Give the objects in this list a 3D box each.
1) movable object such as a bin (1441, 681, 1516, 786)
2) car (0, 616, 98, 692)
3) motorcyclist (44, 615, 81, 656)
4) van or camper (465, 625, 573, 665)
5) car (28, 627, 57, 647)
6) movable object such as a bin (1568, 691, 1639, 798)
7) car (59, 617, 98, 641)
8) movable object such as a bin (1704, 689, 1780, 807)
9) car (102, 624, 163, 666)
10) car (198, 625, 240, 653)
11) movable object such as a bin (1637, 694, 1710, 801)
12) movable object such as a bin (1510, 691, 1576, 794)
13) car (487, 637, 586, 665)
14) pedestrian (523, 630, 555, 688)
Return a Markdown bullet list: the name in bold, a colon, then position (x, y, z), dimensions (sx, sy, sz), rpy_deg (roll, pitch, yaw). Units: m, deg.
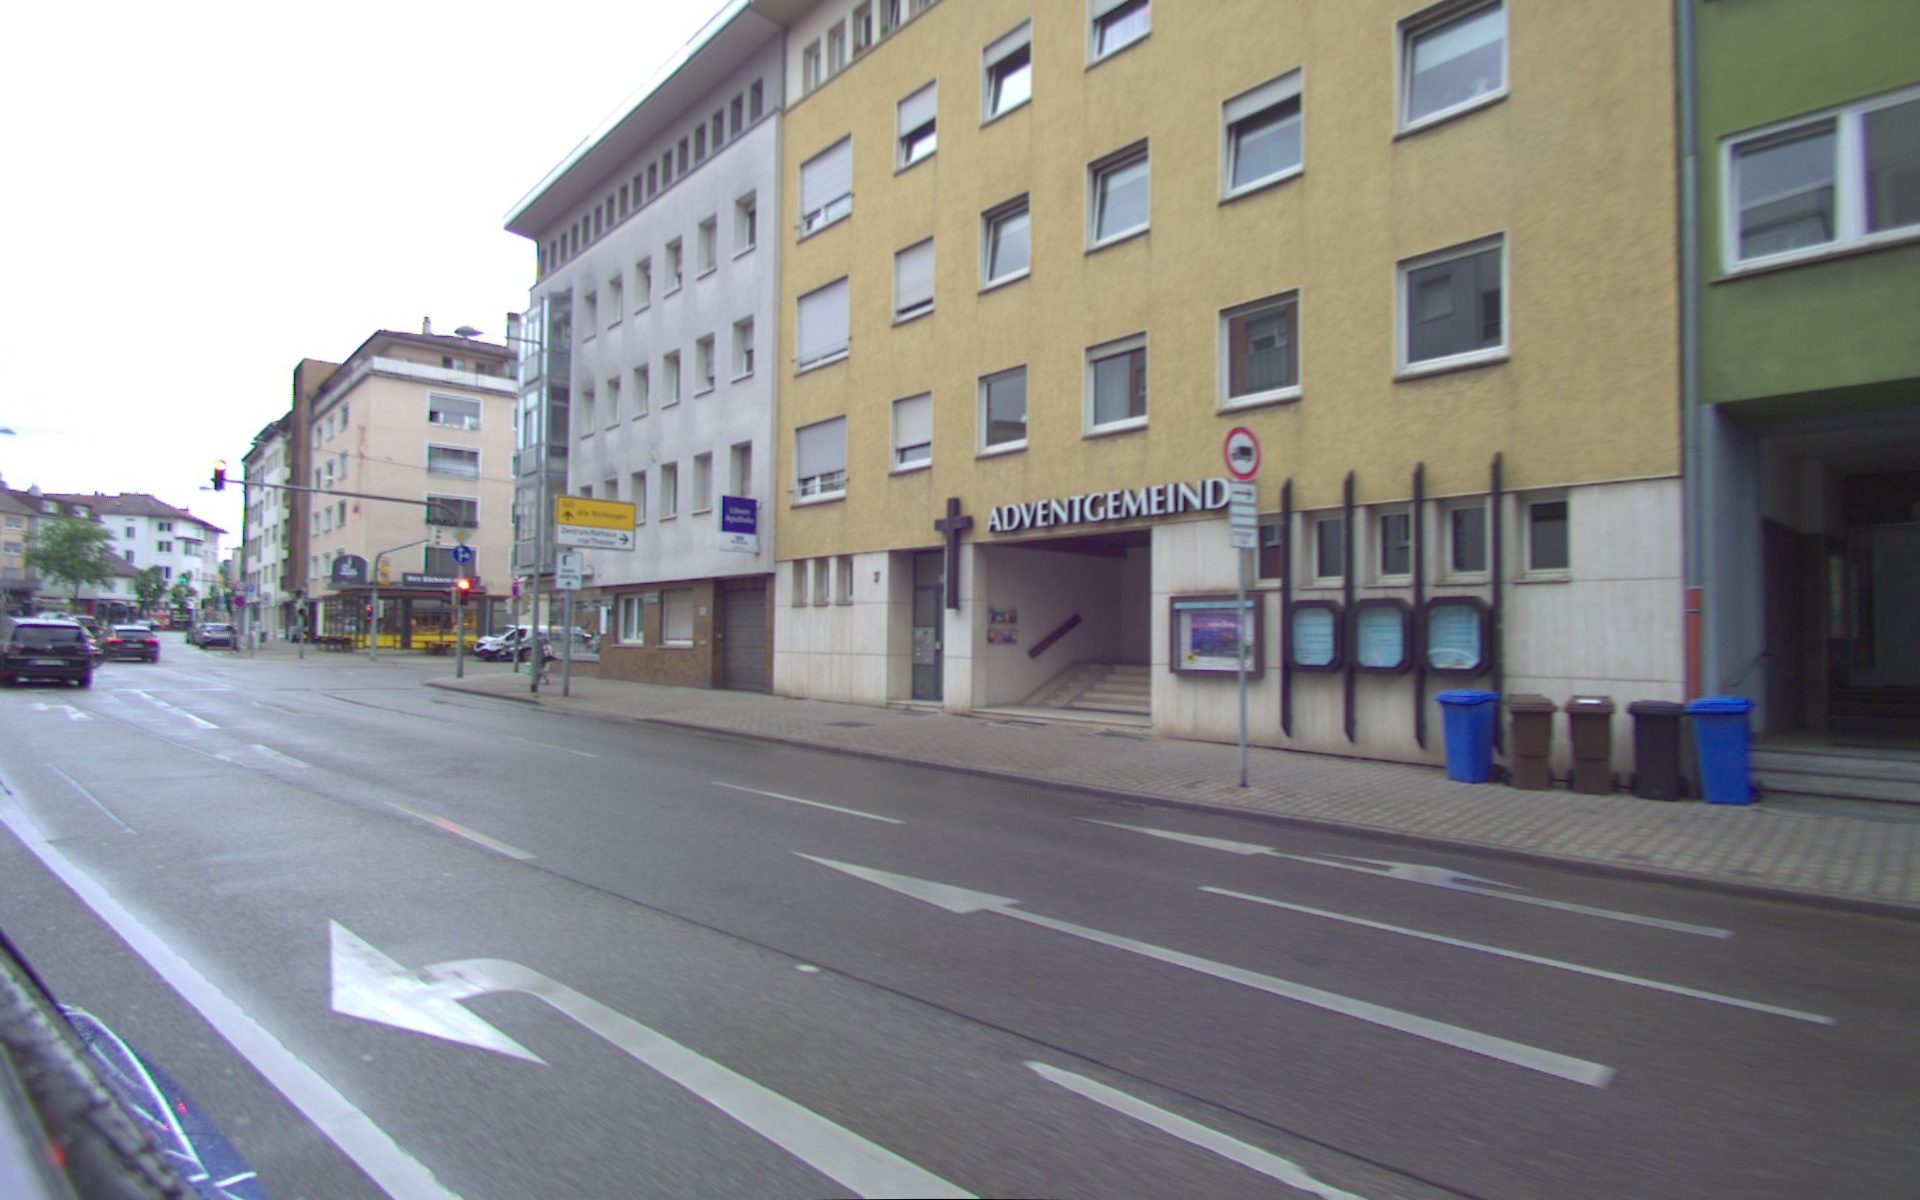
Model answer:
- **movable object such as a bin**: position (5.475, 1.394, 10.683), dimensions (0.510, 1.008, 0.524), rpy_deg (-3, 0, -42)
- **car**: position (-22.355, 1.268, 24.545), dimensions (4.002, 1.697, 1.852), rpy_deg (-2, -3, 45)
- **motorcyclist**: position (-29.882, 1.176, 33.716), dimensions (0.859, 1.338, 0.493), rpy_deg (3, -3, -41)
- **van or camper**: position (-23.997, 2.472, 55.185), dimensions (4.953, 2.029, 2.002), rpy_deg (3, -1, -43)
- **car**: position (-86.875, 3.489, 95.854), dimensions (1.645, 1.785, 4.008), rpy_deg (3, -4, -38)
- **movable object such as a bin**: position (6.261, 1.385, 9.847), dimensions (0.521, 0.935, 0.426), rpy_deg (-3, 0, -42)
- **car**: position (-58.772, 1.917, 67.532), dimensions (1.567, 1.539, 3.496), rpy_deg (2, -3, -35)
- **movable object such as a bin**: position (7.157, 1.335, 9.258), dimensions (0.522, 0.968, 0.435), rpy_deg (-3, 0, -42)
- **car**: position (-33.556, 1.812, 41.010), dimensions (1.723, 1.608, 4.005), rpy_deg (3, -3, -41)
- **car**: position (-44.618, 2.358, 60.909), dimensions (1.807, 1.634, 4.007), rpy_deg (2, -3, -39)
- **movable object such as a bin**: position (6.754, 1.380, 9.584), dimensions (0.522, 0.902, 0.435), rpy_deg (-3, 0, -42)
- **movable object such as a bin**: position (5.822, 1.406, 10.107), dimensions (0.458, 0.935, 0.429), rpy_deg (-3, 0, -42)
- **car**: position (-20.738, 2.470, 49.652), dimensions (1.842, 1.300, 4.040), rpy_deg (-2, -3, 43)
- **pedestrian**: position (-11.908, 1.664, 28.628), dimensions (0.773, 1.600, 0.675), rpy_deg (-1, -2, -28)
